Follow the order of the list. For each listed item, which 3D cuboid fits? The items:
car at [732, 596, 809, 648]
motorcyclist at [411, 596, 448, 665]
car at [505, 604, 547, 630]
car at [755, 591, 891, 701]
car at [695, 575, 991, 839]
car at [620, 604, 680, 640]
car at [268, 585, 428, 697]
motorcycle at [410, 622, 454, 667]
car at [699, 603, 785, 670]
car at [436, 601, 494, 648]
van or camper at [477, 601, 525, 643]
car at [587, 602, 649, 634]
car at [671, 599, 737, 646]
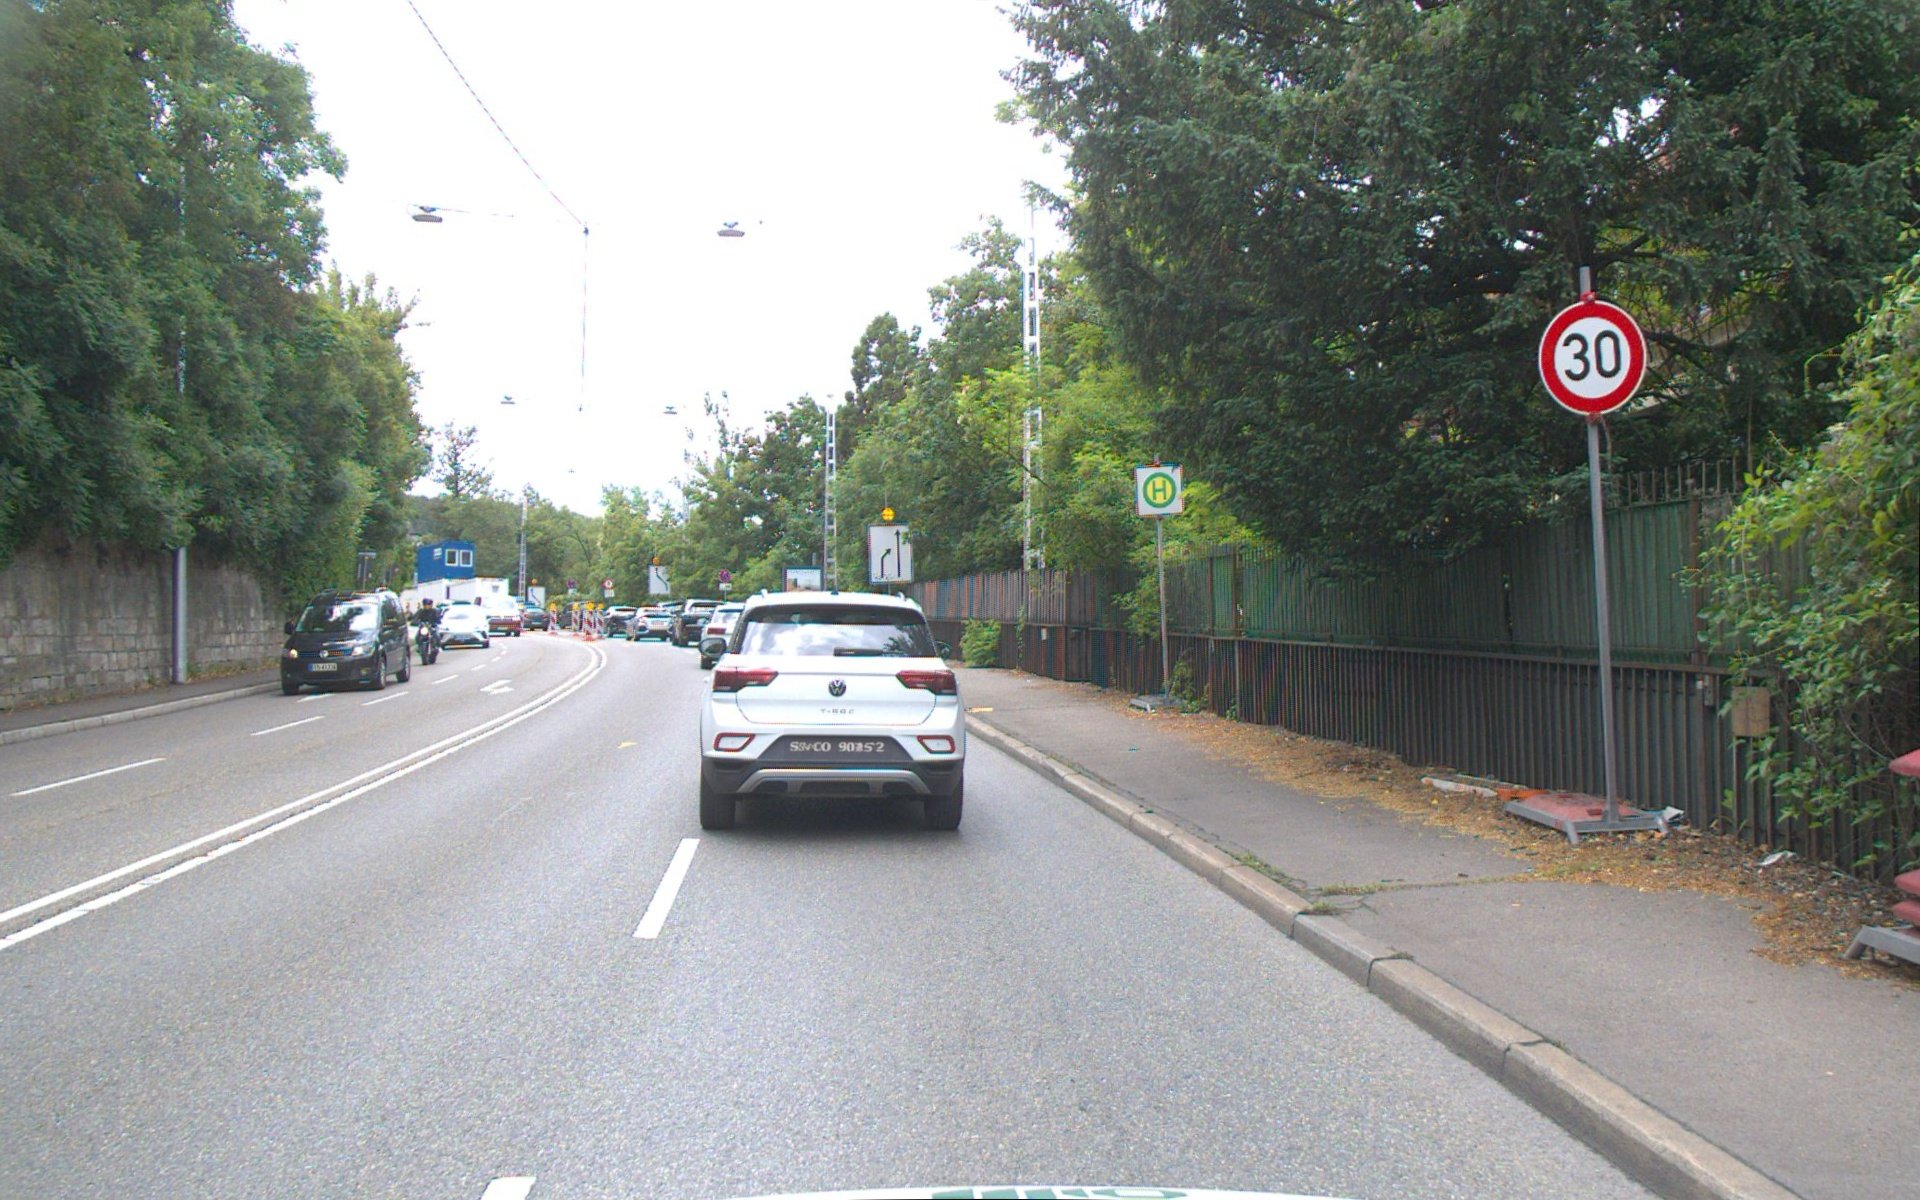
[{"bbox_3d":[-5.642,0.669,48.838,1.958,1.439,4.139,-1,-1,-11],"label":"car"},{"bbox_3d":[-13.784,0.790,42.995,0.636,1.735,1.336,-2,0,-7],"label":"motorcyclist"},{"bbox_3d":[-25.776,1.016,98.176,1.758,1.480,3.968,0,-1,-25],"label":"car"},{"bbox_3d":[-2.275,0.716,26.675,1.727,1.638,3.784,1,-1,-12],"label":"car"},{"bbox_3d":[-0.997,0.672,11.962,1.726,1.583,3.786,1,-1,-10],"label":"car"},{"bbox_3d":[-13.336,0.974,71.048,1.964,1.475,4.127,0,-1,-19],"label":"car"},{"bbox_3d":[-11.459,0.724,31.258,1.710,1.878,4.244,-3,0,-5],"label":"car"},{"bbox_3d":[-13.791,1.137,43.262,0.637,1.092,2.304,-2,0,-7],"label":"motorcycle"},{"bbox_3d":[-5.171,0.836,38.893,1.727,1.497,3.784,1,-1,-12],"label":"car"},{"bbox_3d":[-17.475,0.863,58.497,1.753,1.492,4.085,-3,0,-15],"label":"car"},{"bbox_3d":[-22.311,1.062,80.502,1.856,1.911,4.752,-1,0,-11],"label":"van or camper"},{"bbox_3d":[-16.743,0.894,80.846,1.970,1.475,4.114,0,-1,-27],"label":"car"},{"bbox_3d":[-9.122,0.764,58.700,1.960,1.583,4.135,0,0,-14],"label":"car"}]
